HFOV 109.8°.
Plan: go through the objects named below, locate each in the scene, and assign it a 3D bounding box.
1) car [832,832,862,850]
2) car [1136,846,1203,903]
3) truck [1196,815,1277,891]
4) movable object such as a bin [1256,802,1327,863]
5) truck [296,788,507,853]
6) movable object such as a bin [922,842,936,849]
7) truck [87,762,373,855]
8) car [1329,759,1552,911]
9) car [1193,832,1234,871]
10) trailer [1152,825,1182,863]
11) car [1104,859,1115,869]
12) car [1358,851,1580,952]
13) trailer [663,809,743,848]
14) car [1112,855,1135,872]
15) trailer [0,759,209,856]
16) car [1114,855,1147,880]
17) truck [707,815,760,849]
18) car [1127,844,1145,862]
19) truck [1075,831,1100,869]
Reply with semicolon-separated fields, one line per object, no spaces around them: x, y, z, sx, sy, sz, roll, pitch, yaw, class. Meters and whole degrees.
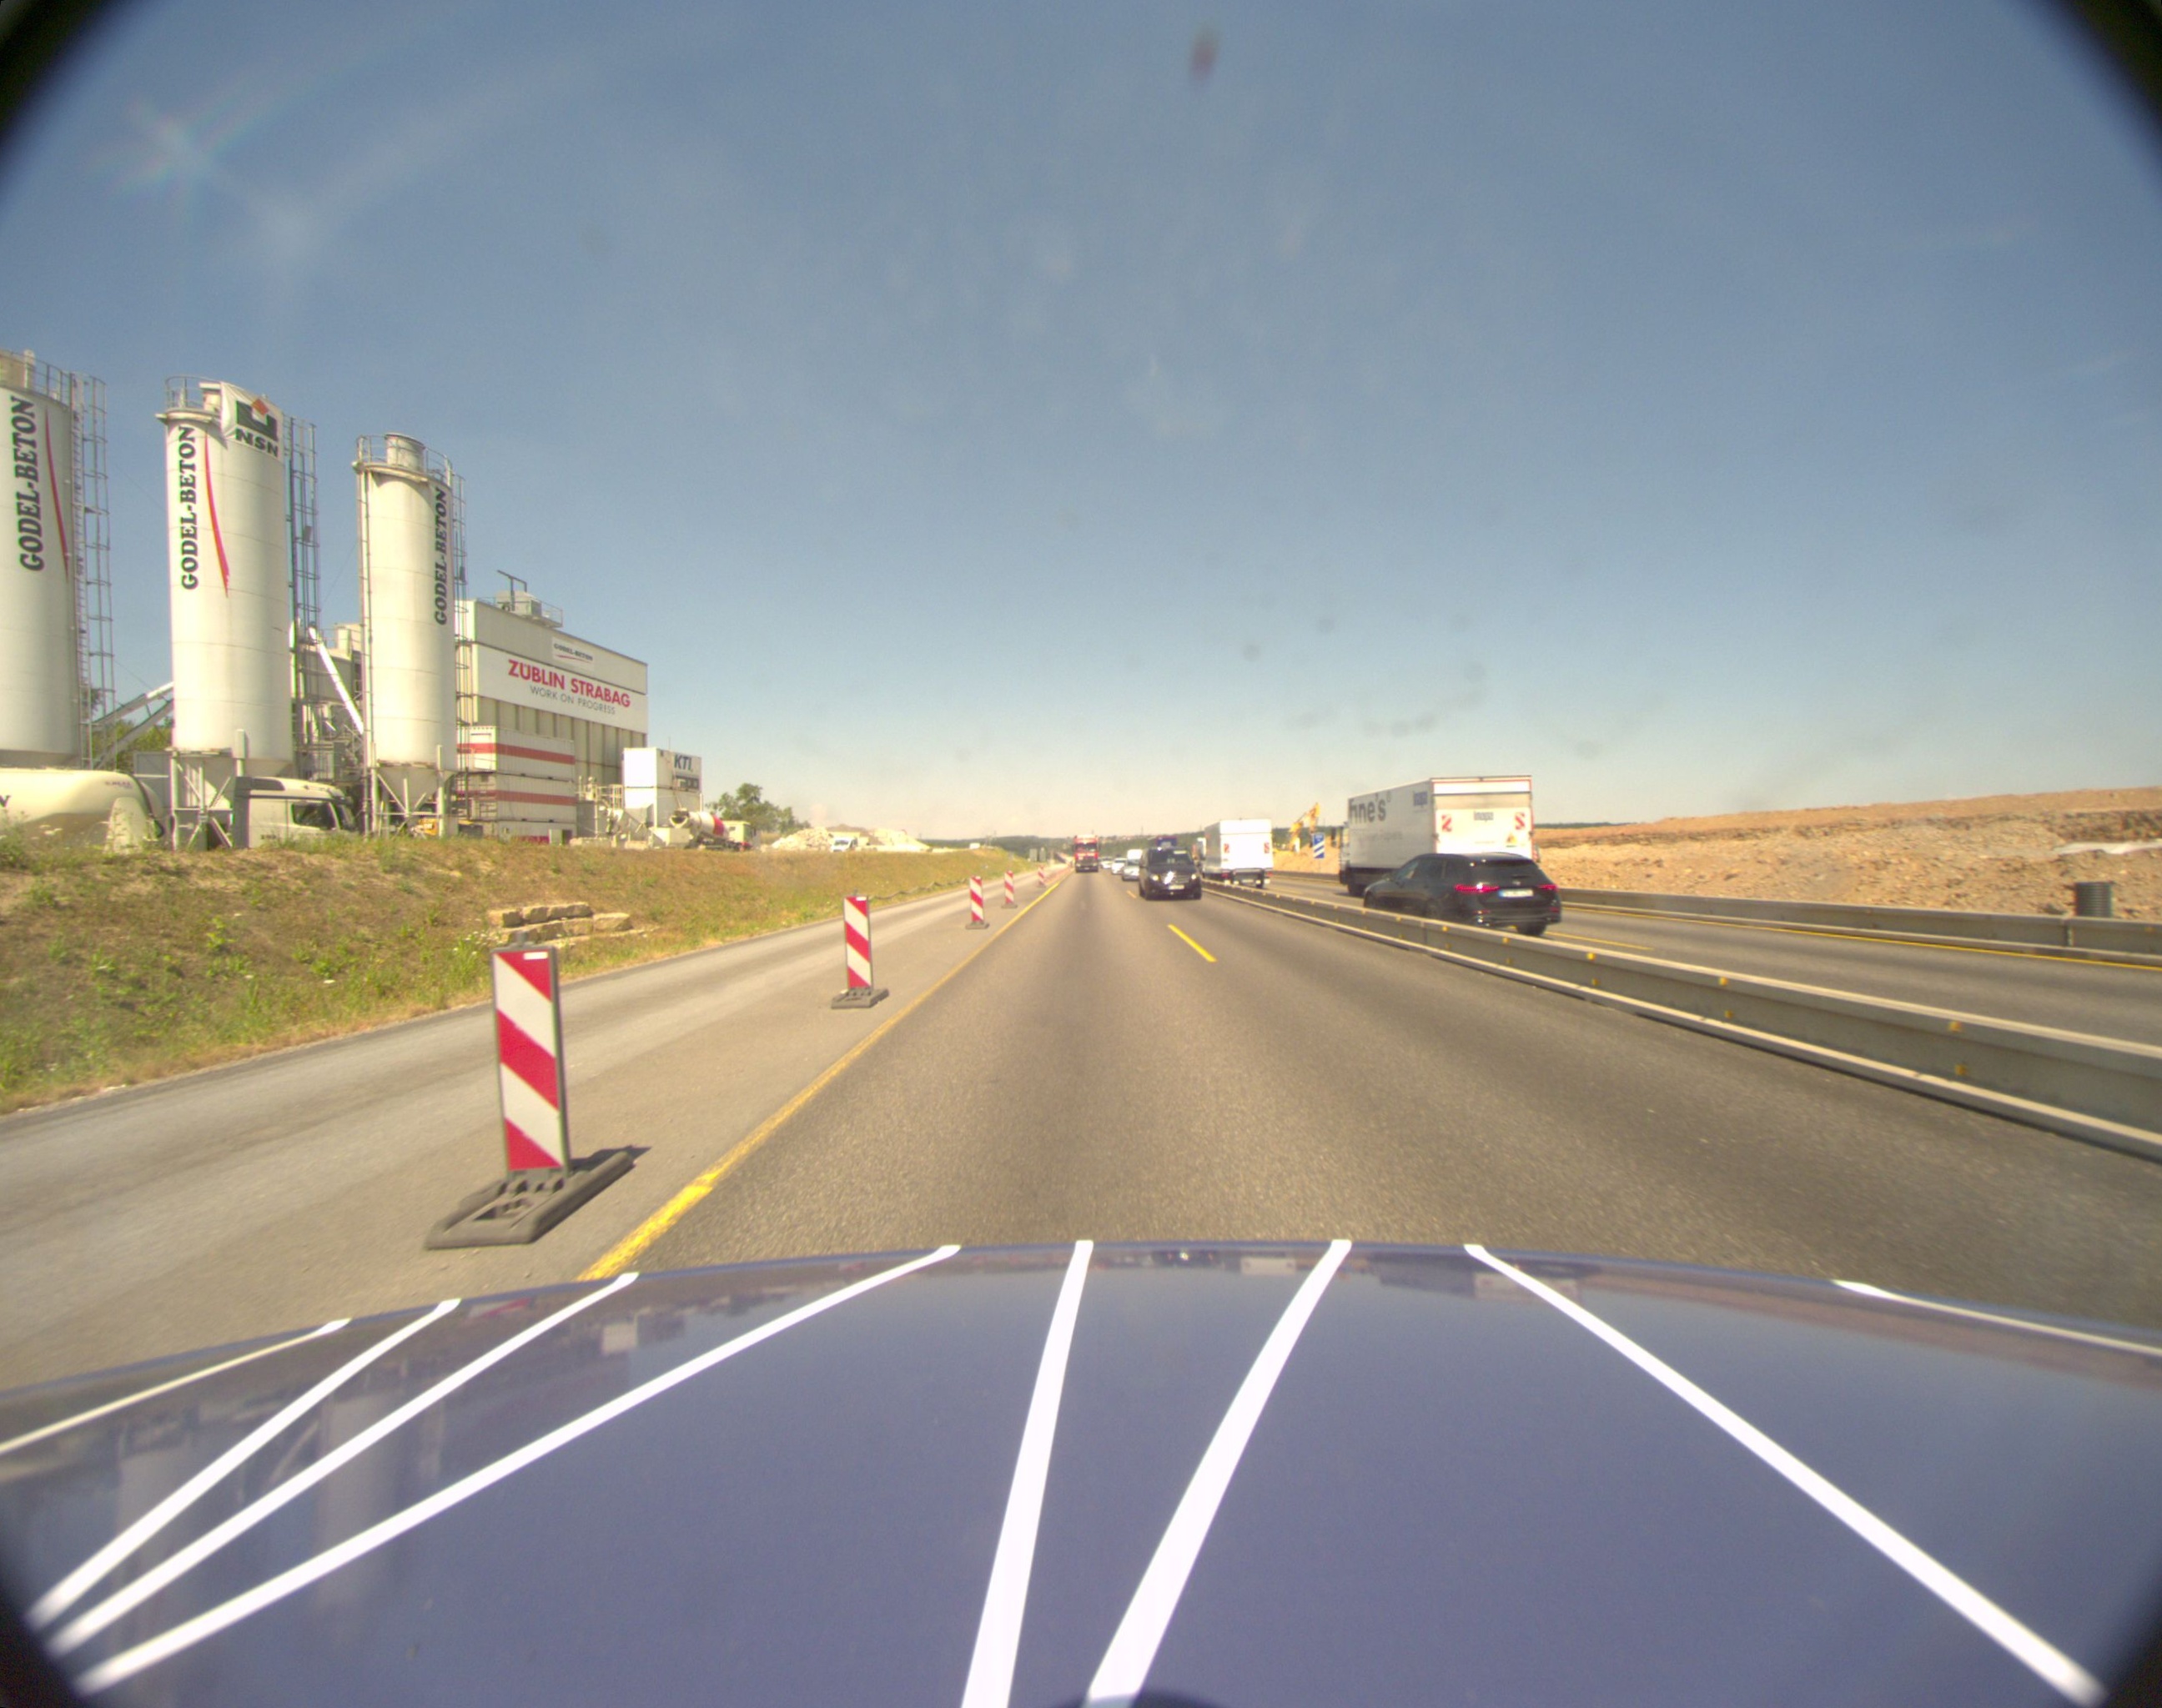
-25.003;-1.377;81.186;1.990;1.752;3.601;-2;1;0;car
3.198;0.669;28.455;1.878;1.840;5.478;-2;1;1;car
7.108;-0.075;35.691;2.277;3.131;7.313;-2;1;0;truck
25.631;-2.573;92.935;7.378;7.073;4.081;-2;1;1;movable object such as a bin
-34.570;-1.657;38.756;9.090;2.852;2.460;-2;1;6;truck
-15.440;-0.822;77.228;0.838;0.678;2.249;-2;1;1;movable object such as a bin
-25.986;-1.335;23.662;5.317;2.530;2.897;-3;1;-36;truck
10.367;-0.457;23.151;2.915;3.718;8.091;-2;0;1;car
10.686;-0.195;61.725;2.257;2.938;5.848;-2;1;1;car
11.259;-1.342;100.685;2.992;4.569;12.885;-2;1;3;trailer
4.207;1.497;112.222;1.601;1.390;3.695;-2;1;1;car
6.816;0.732;14.009;1.793;1.473;4.561;-2;1;1;car
-27.948;-1.804;56.527;1.998;2.629;6.937;-2;1;4;trailer
3.847;0.809;69.113;1.875;1.390;4.030;-2;1;1;car
-31.443;-1.251;22.058;8.919;2.592;2.463;-1;1;-3;trailer
3.180;0.862;49.421;1.804;1.499;4.100;-2;0;0;car
-27.648;-1.693;60.624;2.021;2.530;4.041;-2;1;4;truck
7.540;-0.084;105.304;2.040;2.329;6.196;-2;0;1;car
0.809;-0.462;84.287;2.537;3.798;9.481;-2;1;2;truck
